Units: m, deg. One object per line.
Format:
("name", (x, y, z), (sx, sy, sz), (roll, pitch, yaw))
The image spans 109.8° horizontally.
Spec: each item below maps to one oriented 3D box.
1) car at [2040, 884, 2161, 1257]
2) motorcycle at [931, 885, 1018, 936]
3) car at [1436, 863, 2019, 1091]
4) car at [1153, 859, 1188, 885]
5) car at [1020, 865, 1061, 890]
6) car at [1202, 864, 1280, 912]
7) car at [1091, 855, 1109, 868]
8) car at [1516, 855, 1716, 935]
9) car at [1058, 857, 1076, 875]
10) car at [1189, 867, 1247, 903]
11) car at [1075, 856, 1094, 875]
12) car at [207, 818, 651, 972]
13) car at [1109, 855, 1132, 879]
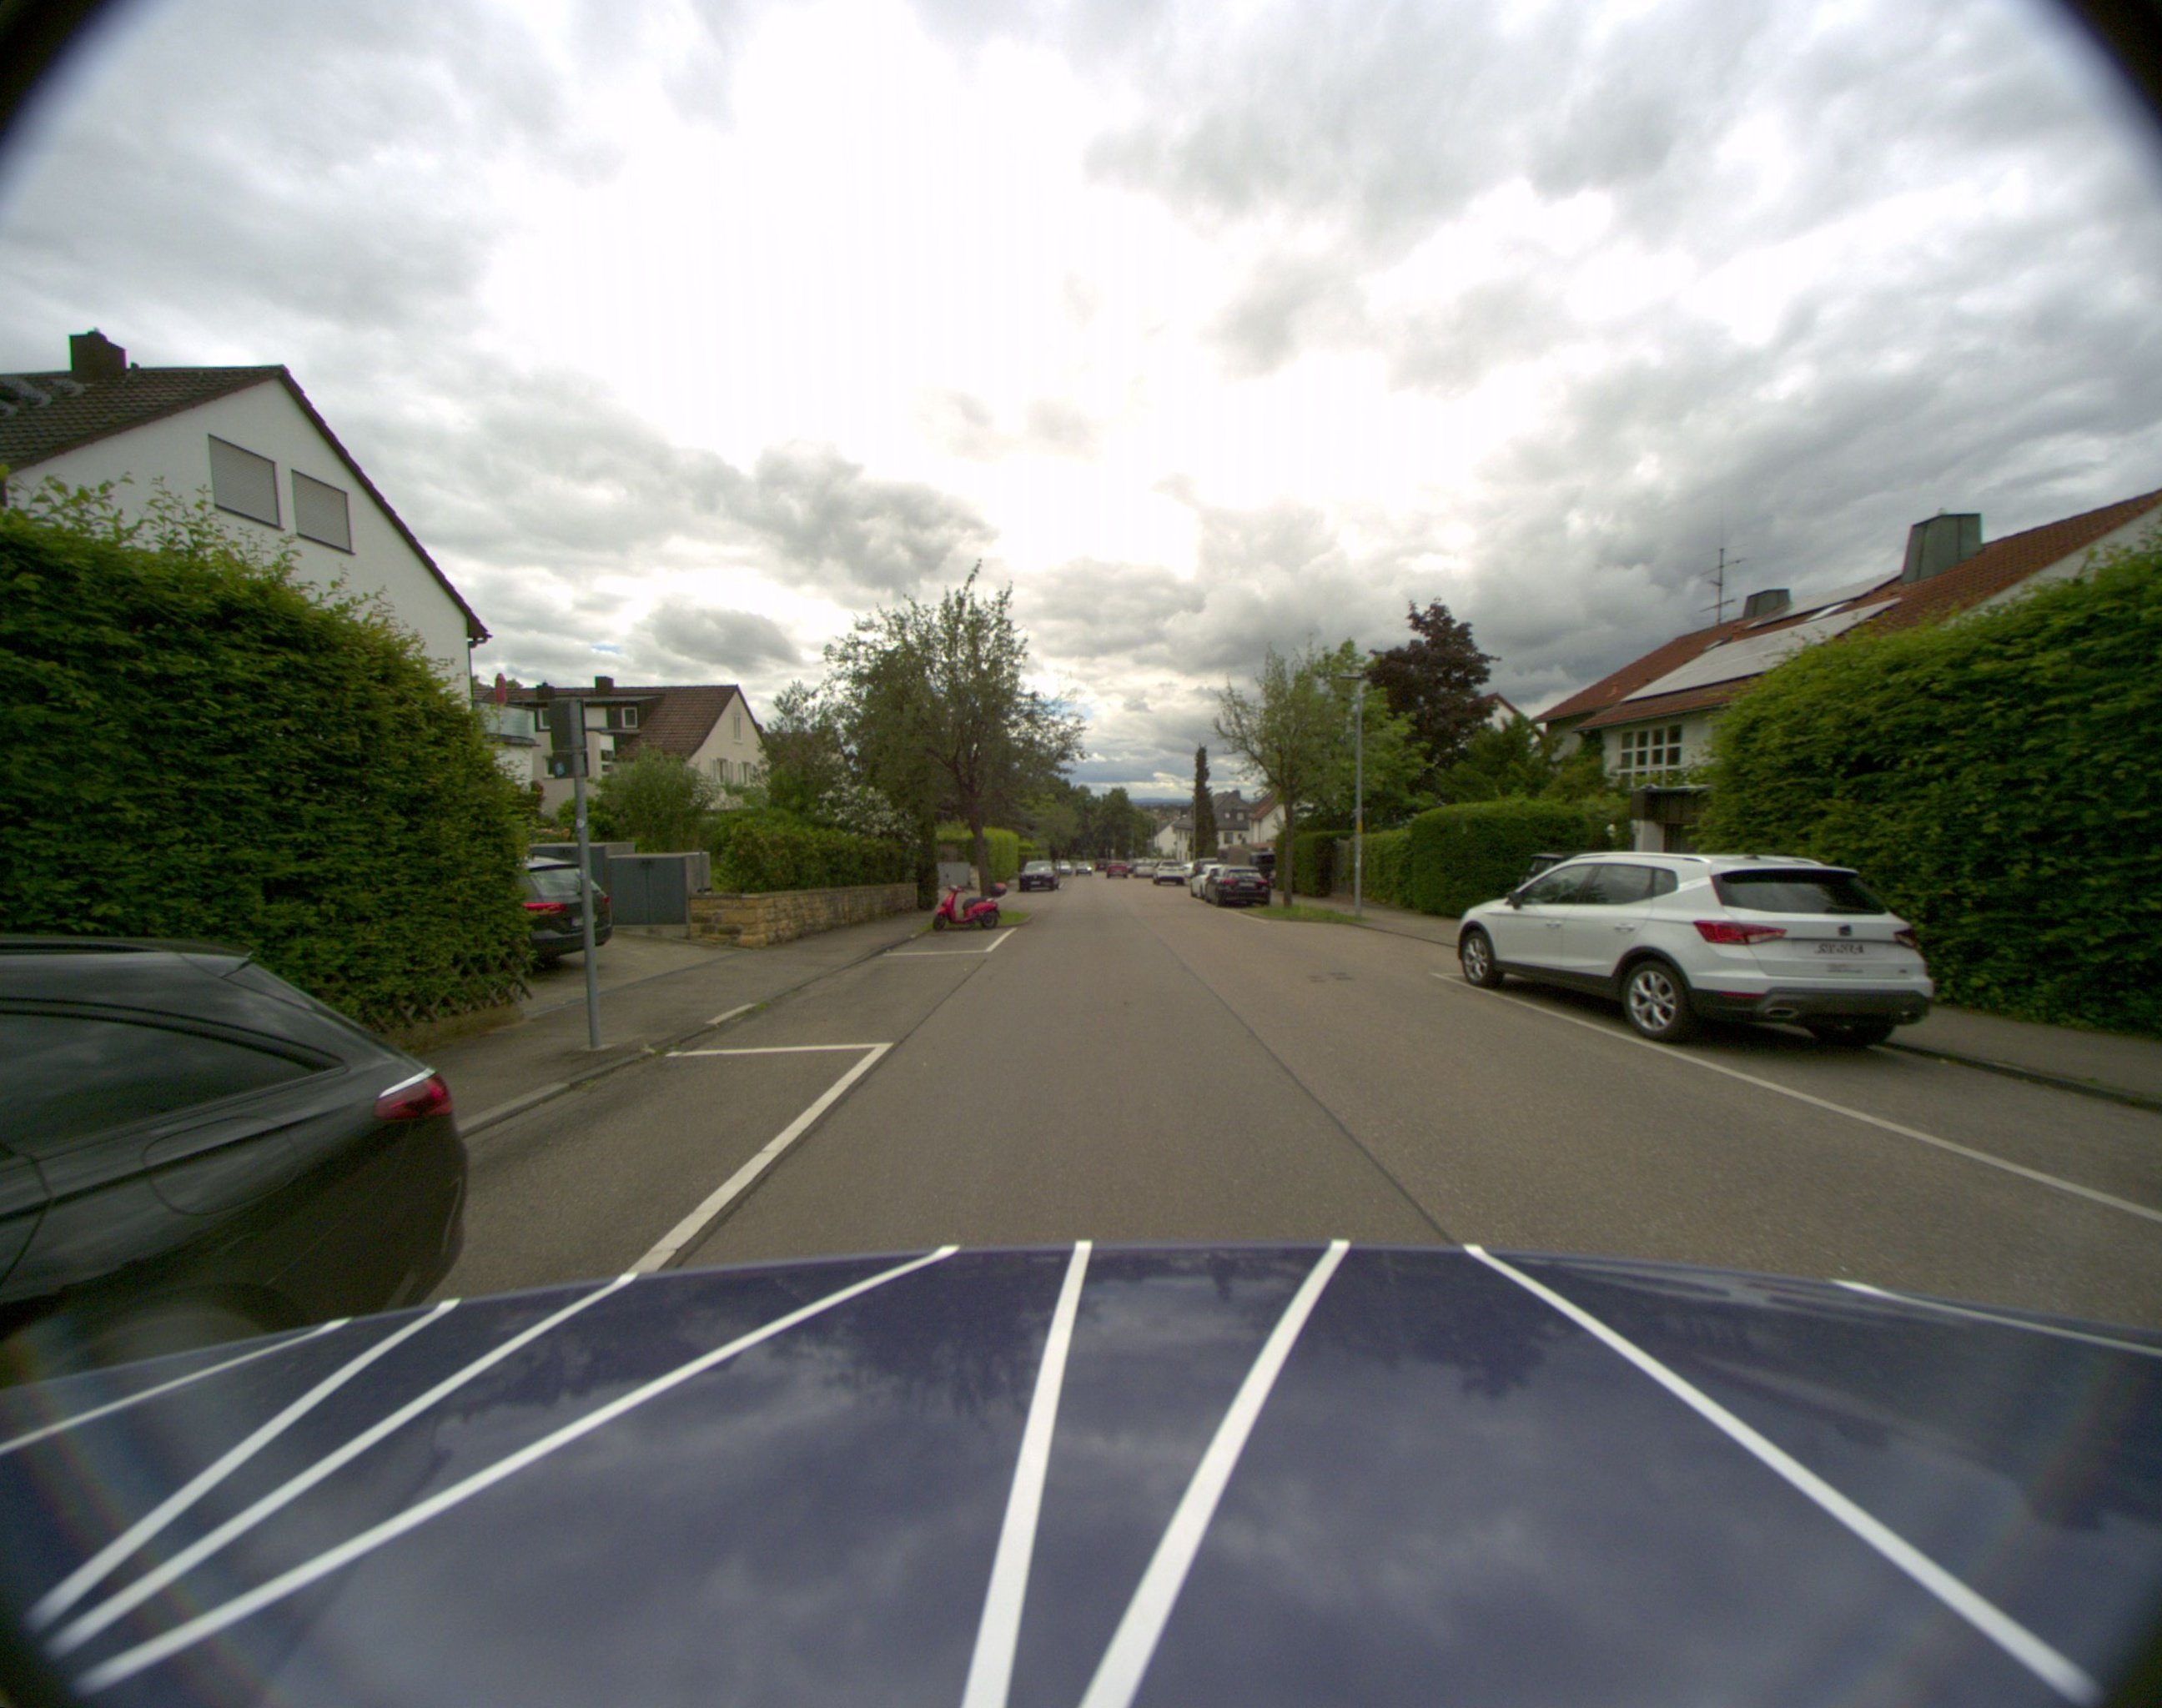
("car", (5.242, 0.935, 1.047), (1.786, 1.481, 4.738), (3, 1, 0))
("motorcycle", (-2.553, 1.328, 18.230), (1.942, 1.127, 0.658), (0, 0, -27))
("car", (5.333, 0.852, 7.249), (1.891, 1.481, 4.342), (0, 0, 0))
("car", (5.842, 1.157, 49.999), (1.935, 1.521, 4.000), (-1, 0, 1))
("car", (-2.191, 1.291, 42.178), (1.998, 1.221, 4.000), (-1, 0, 0))
("car", (5.521, 1.129, 26.746), (1.944, 1.540, 4.006), (0, 0, 0))
("car", (2.730, 1.018, 110.030), (2.000, 1.712, 3.997), (-4, 1, -8))
("car", (10.453, 0.772, 15.009), (2.887, 1.497, 1.499), (0, 0, 5))
("car", (-1.613, 1.376, 89.107), (1.747, 2.002, 4.000), (-3, 0, 1))
("car", (5.649, 1.248, 31.760), (1.725, 1.368, 4.000), (0, 0, 0))
("car", (0.367, 1.276, 83.285), (1.998, 2.001, 4.001), (-3, -1, 0))
("car", (-8.186, 0.487, 9.896), (3.999, 1.496, 1.850), (5, 1, -4))
("car", (3.619, 1.179, 70.527), (1.872, 2.002, 4.000), (-3, 0, 0))
